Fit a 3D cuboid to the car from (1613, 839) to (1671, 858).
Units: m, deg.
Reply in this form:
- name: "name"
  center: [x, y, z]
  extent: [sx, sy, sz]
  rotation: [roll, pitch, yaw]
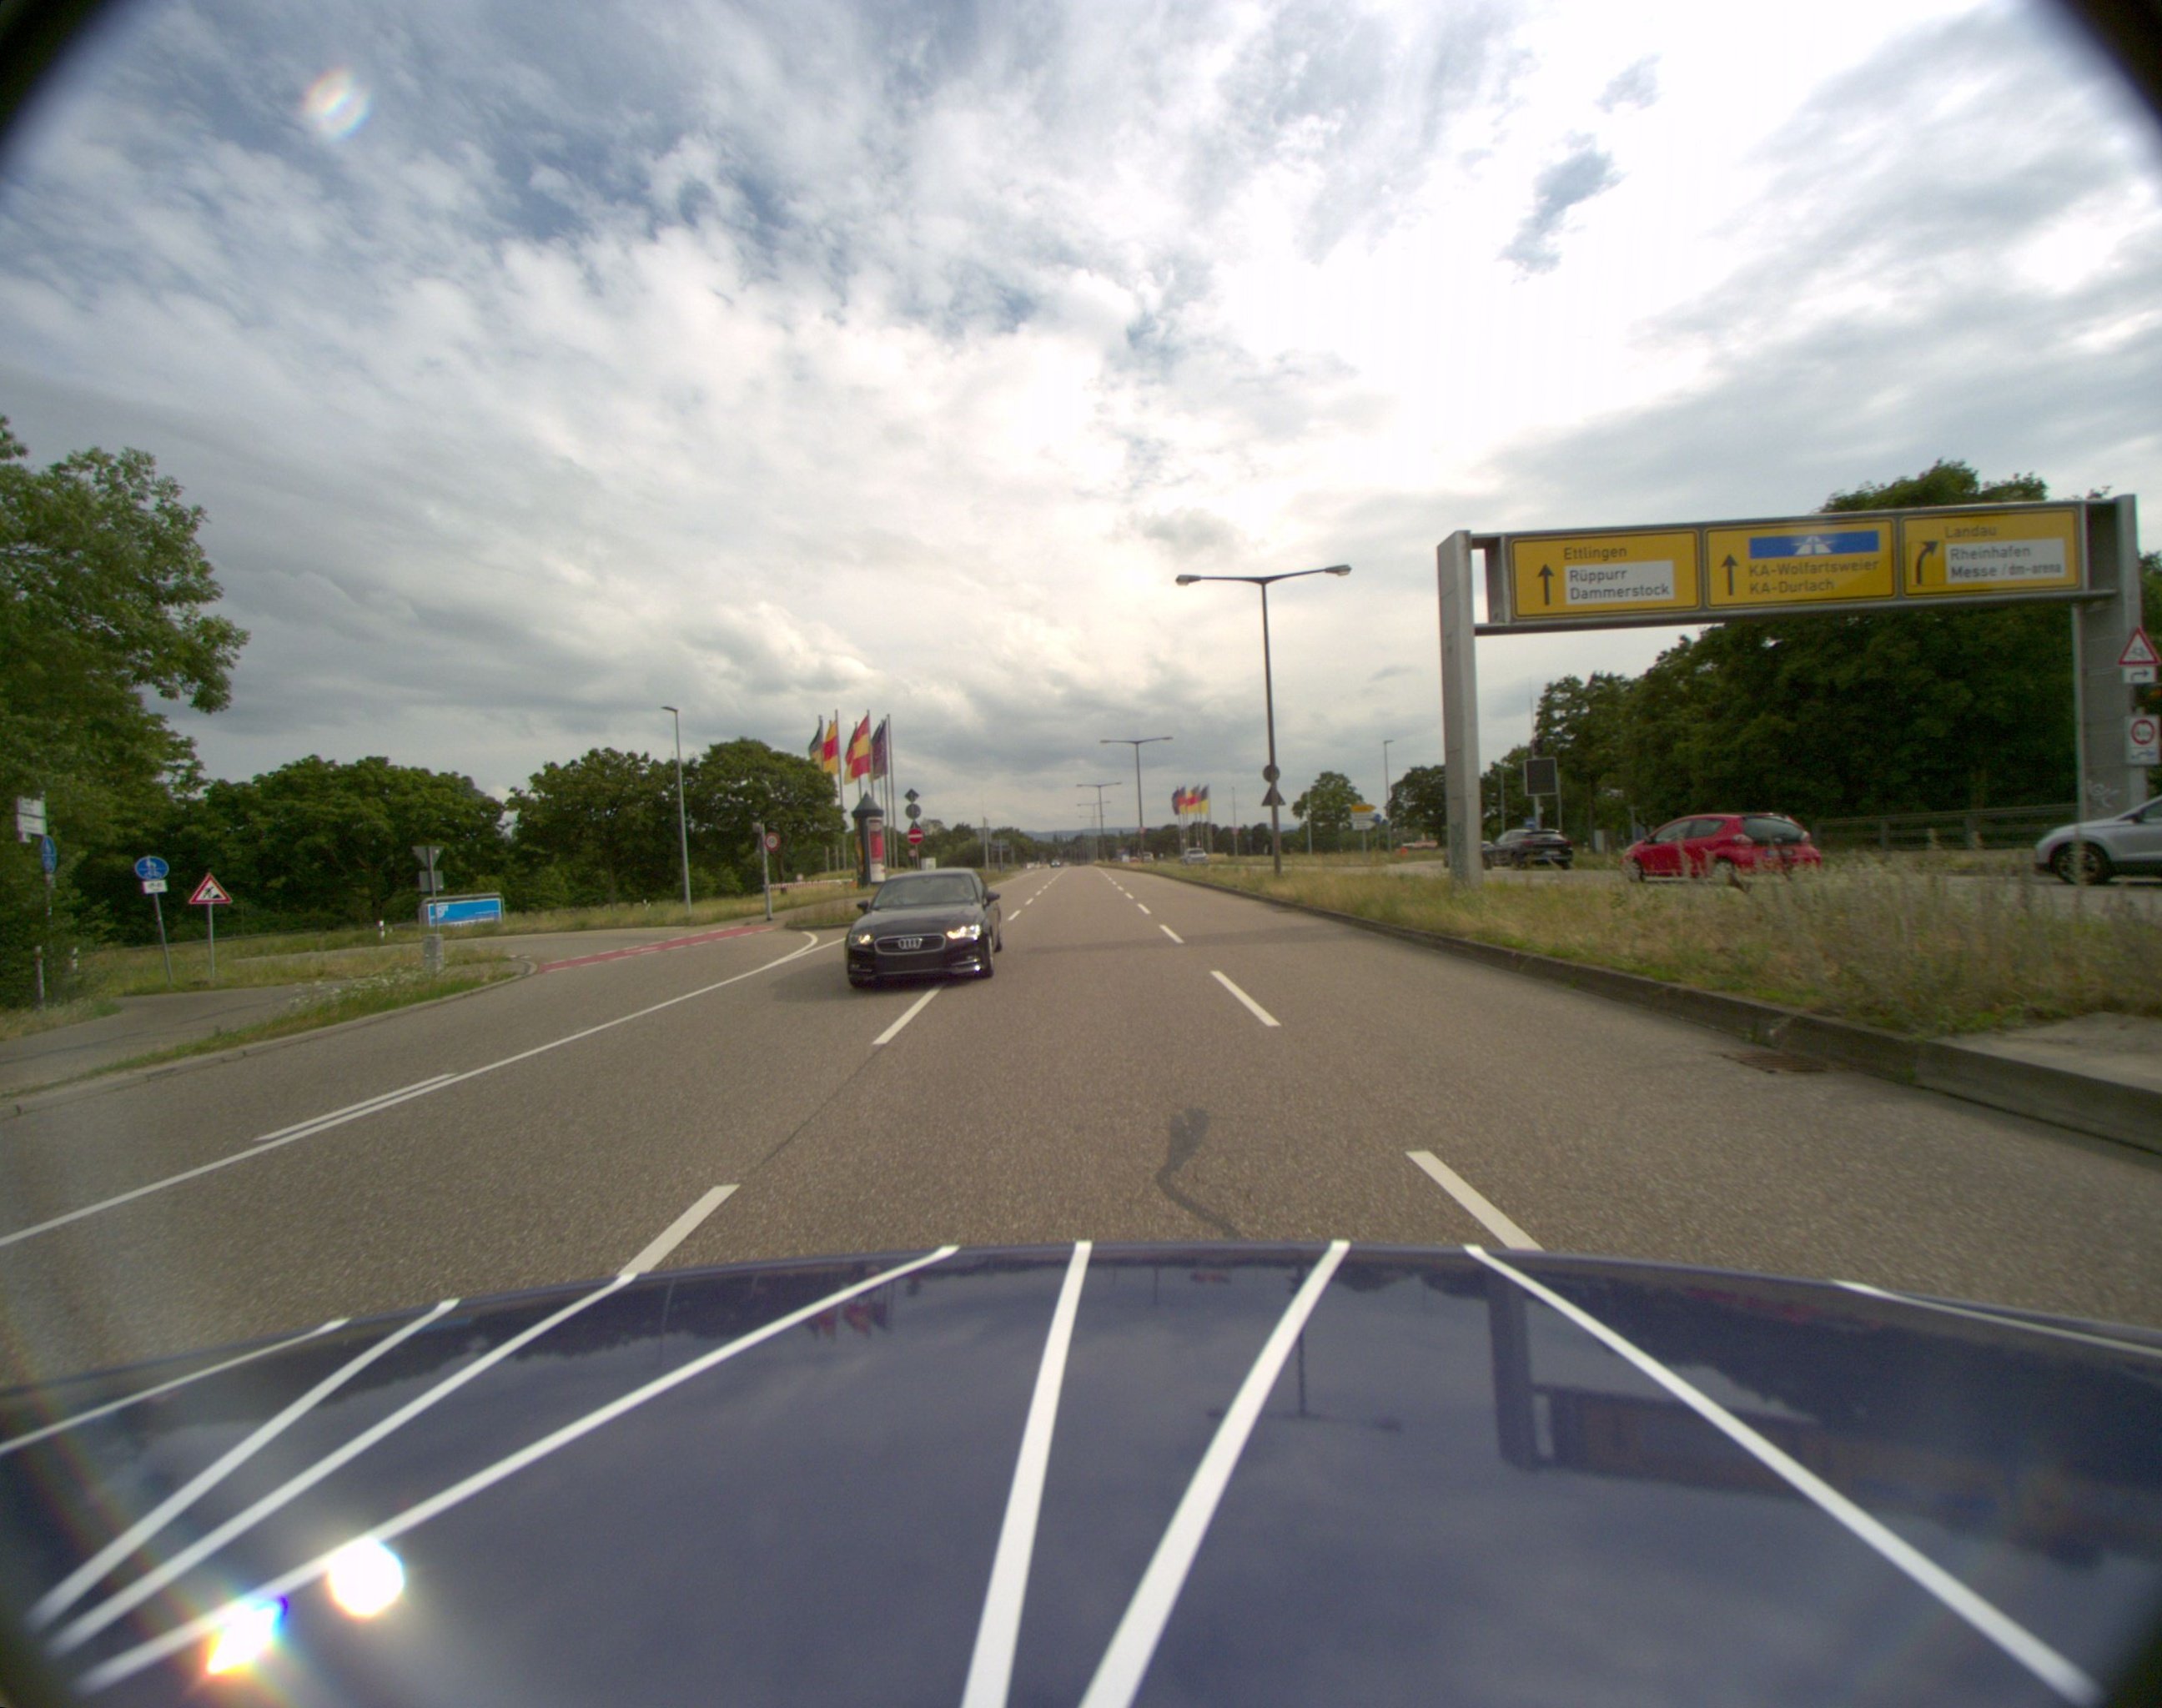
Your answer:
- name: "car"
  center: [46.660, -0.469, 63.212]
  extent: [4.003, 1.276, 1.997]
  rotation: [-5, 0, -22]

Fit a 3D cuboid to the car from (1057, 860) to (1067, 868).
- name: "car"
  center: [-4.220, 2.278, 166.831]
  extent: [1.998, 1.518, 4.000]
  rotation: [-5, 1, 1]

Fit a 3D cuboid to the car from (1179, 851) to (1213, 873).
- name: "car"
  center: [8.765, 0.622, 58.160]
  extent: [1.776, 1.597, 3.877]
  rotation: [-3, -1, -2]

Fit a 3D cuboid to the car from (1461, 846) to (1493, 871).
- name: "car"
  center: [26.517, 0.272, 50.892]
  extent: [1.819, 1.598, 3.904]
  rotation: [1, 1, 28]

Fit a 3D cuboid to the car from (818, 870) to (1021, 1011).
- name: "car"
  center: [-2.011, 1.021, 10.929]
  extent: [1.853, 1.355, 4.729]
  rotation: [-4, 0, -1]

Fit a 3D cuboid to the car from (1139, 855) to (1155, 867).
- name: "car"
  center: [9.477, 1.008, 109.043]
  extent: [1.776, 1.598, 3.875]
  rotation: [-3, 1, -2]

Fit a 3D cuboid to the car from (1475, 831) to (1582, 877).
- name: "car"
  center: [17.646, 0.041, 30.250]
  extent: [1.891, 1.597, 4.763]
  rotation: [-3, -1, 8]

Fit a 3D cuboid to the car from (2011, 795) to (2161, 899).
- name: "car"
  center: [16.798, -0.138, 10.719]
  extent: [1.892, 1.523, 4.452]
  rotation: [-3, 1, 0]

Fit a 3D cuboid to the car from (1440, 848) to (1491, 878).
- name: "car"
  center: [20.886, 0.526, 41.472]
  extent: [1.889, 1.518, 4.675]
  rotation: [1, -1, 20]

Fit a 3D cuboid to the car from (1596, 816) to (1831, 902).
- name: "car"
  center: [13.214, 0.066, 16.227]
  extent: [1.727, 1.523, 3.917]
  rotation: [-3, 1, 0]
